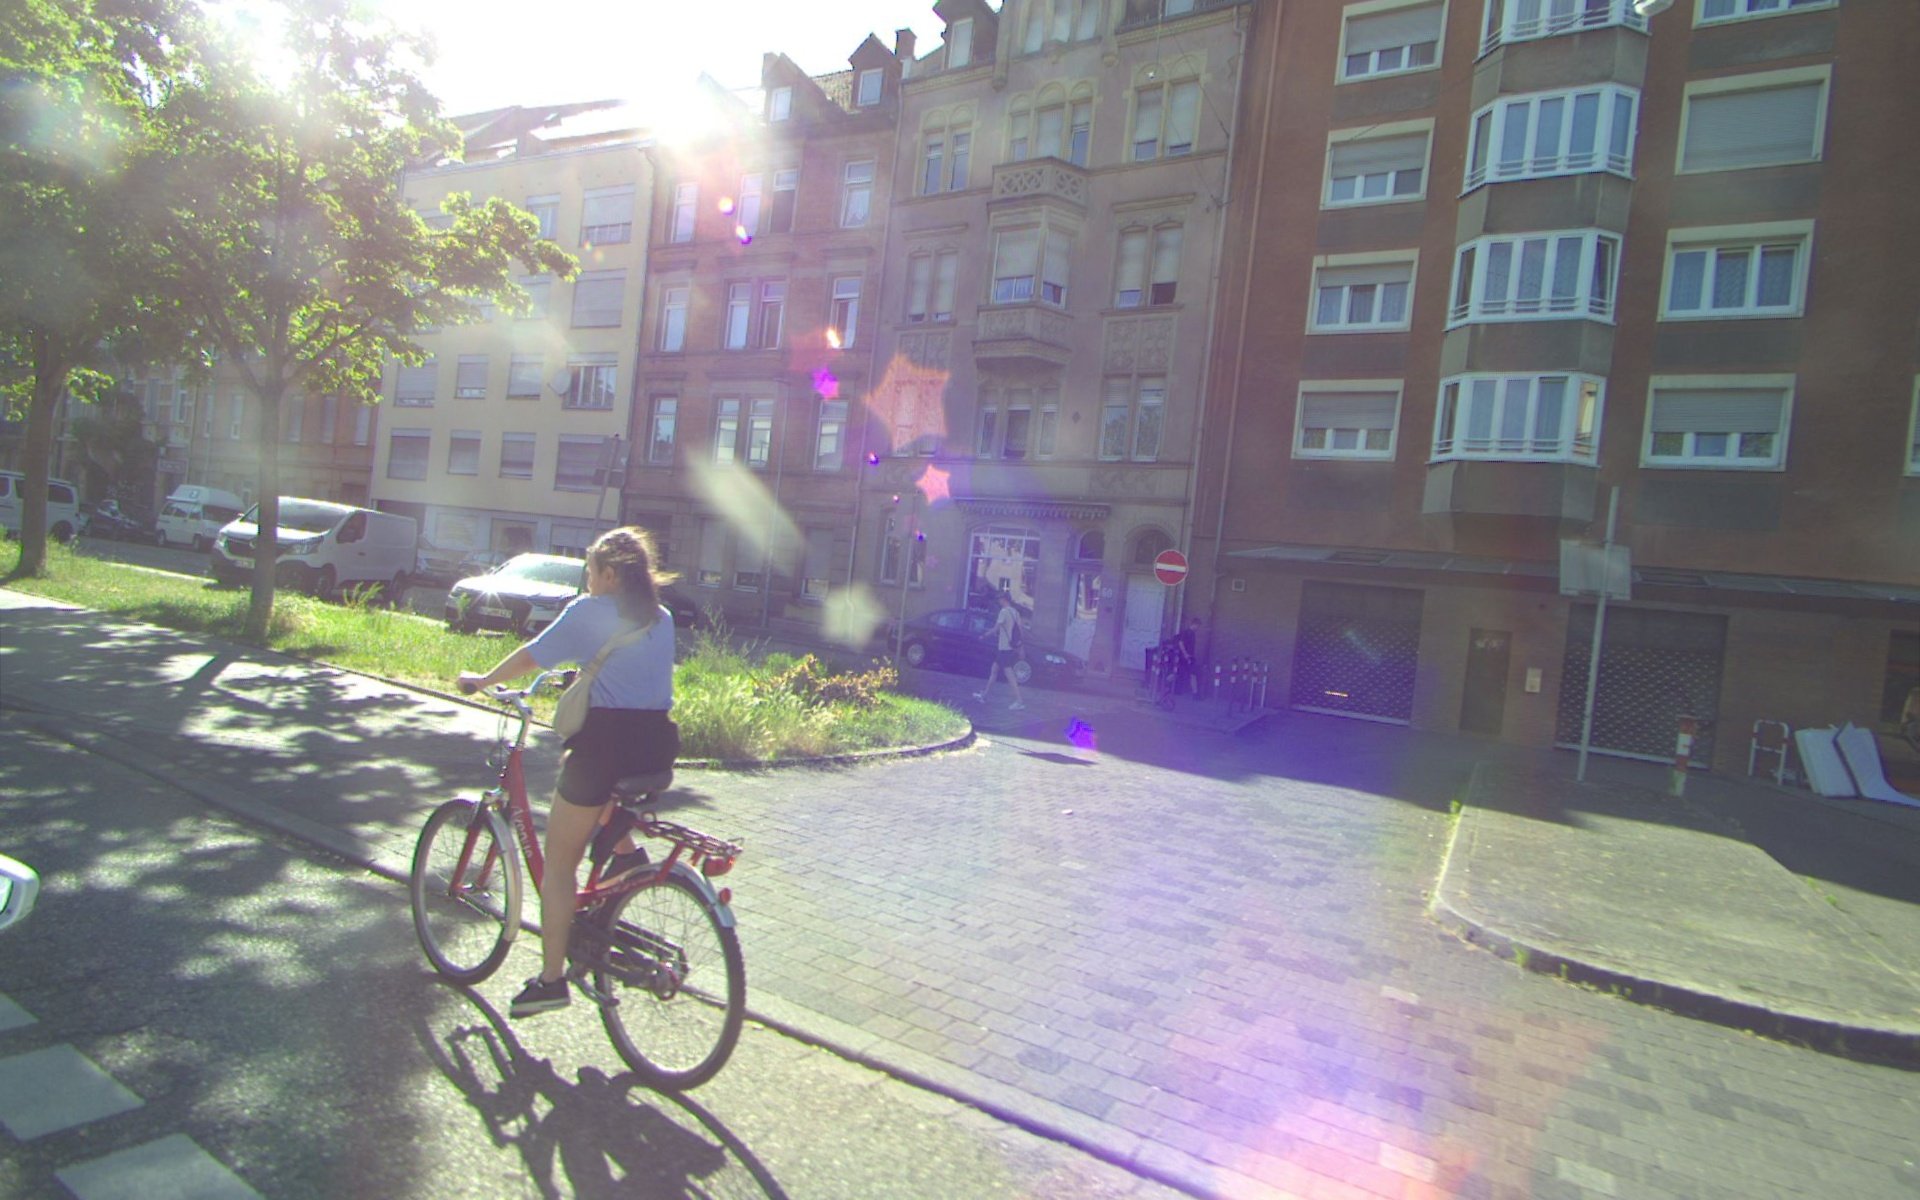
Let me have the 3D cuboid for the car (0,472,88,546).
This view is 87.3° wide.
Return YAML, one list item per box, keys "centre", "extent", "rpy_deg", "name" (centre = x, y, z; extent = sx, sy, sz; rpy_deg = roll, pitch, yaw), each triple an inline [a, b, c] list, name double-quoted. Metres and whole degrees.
- centre: [-28.626, -2.755, 29.192]
  extent: [2.061, 2.040, 5.182]
  rpy_deg: [5, 2, 0]
  name: "car"

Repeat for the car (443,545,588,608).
- centre: [-13.626, -0.722, 30.806]
  extent: [4.092, 1.439, 1.880]
  rpy_deg: [7, 2, 29]
  name: "car"

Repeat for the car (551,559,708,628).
- centre: [-9.320, -0.188, 28.303]
  extent: [4.219, 1.439, 1.730]
  rpy_deg: [7, 2, 29]
  name: "car"

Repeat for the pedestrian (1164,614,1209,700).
- centre: [4.888, 1.228, 21.679]
  extent: [0.605, 1.781, 0.570]
  rpy_deg: [7, 2, 31]
  name: "pedestrian"

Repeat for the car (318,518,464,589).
- centre: [-18.776, -1.527, 33.155]
  extent: [4.546, 1.824, 1.995]
  rpy_deg: [7, 2, 28]
  name: "car"

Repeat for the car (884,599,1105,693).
- centre: [0.738, 0.991, 22.428]
  extent: [4.416, 1.493, 1.995]
  rpy_deg: [7, 1, 32]
  name: "car"

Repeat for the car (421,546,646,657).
- centre: [-7.122, -0.058, 17.438]
  extent: [1.984, 1.454, 4.873]
  rpy_deg: [6, 2, -4]
  name: "car"

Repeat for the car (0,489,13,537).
- centre: [-31.074, -2.764, 30.111]
  extent: [1.780, 1.498, 4.024]
  rpy_deg: [5, 2, -5]
  name: "car"

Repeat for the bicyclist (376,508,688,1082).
- centre: [-1.421, 0.573, 3.332]
  extent: [0.766, 1.660, 0.438]
  rpy_deg: [7, 2, 30]
  name: "bicyclist"

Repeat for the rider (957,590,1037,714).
- centre: [0.610, 0.817, 16.220]
  extent: [1.021, 1.843, 0.962]
  rpy_deg: [6, 1, 7]
  name: "rider"

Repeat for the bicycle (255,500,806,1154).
- centre: [-1.504, 0.579, 3.350]
  extent: [1.906, 1.658, 0.438]
  rpy_deg: [7, -1, 29]
  name: "bicycle"

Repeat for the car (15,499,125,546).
- centre: [-39.529, -3.431, 44.675]
  extent: [4.432, 1.549, 1.997]
  rpy_deg: [7, 2, 25]
  name: "car"

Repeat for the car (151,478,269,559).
- centre: [-29.160, -3.171, 39.081]
  extent: [4.436, 2.620, 1.994]
  rpy_deg: [7, 3, 30]
  name: "car"

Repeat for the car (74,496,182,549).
- centre: [-34.961, -3.268, 42.261]
  extent: [4.436, 1.712, 1.996]
  rpy_deg: [6, 0, 30]
  name: "car"

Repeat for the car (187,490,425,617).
- centre: [-13.288, -0.932, 20.885]
  extent: [1.985, 2.102, 4.872]
  rpy_deg: [6, 2, -6]
  name: "car"
